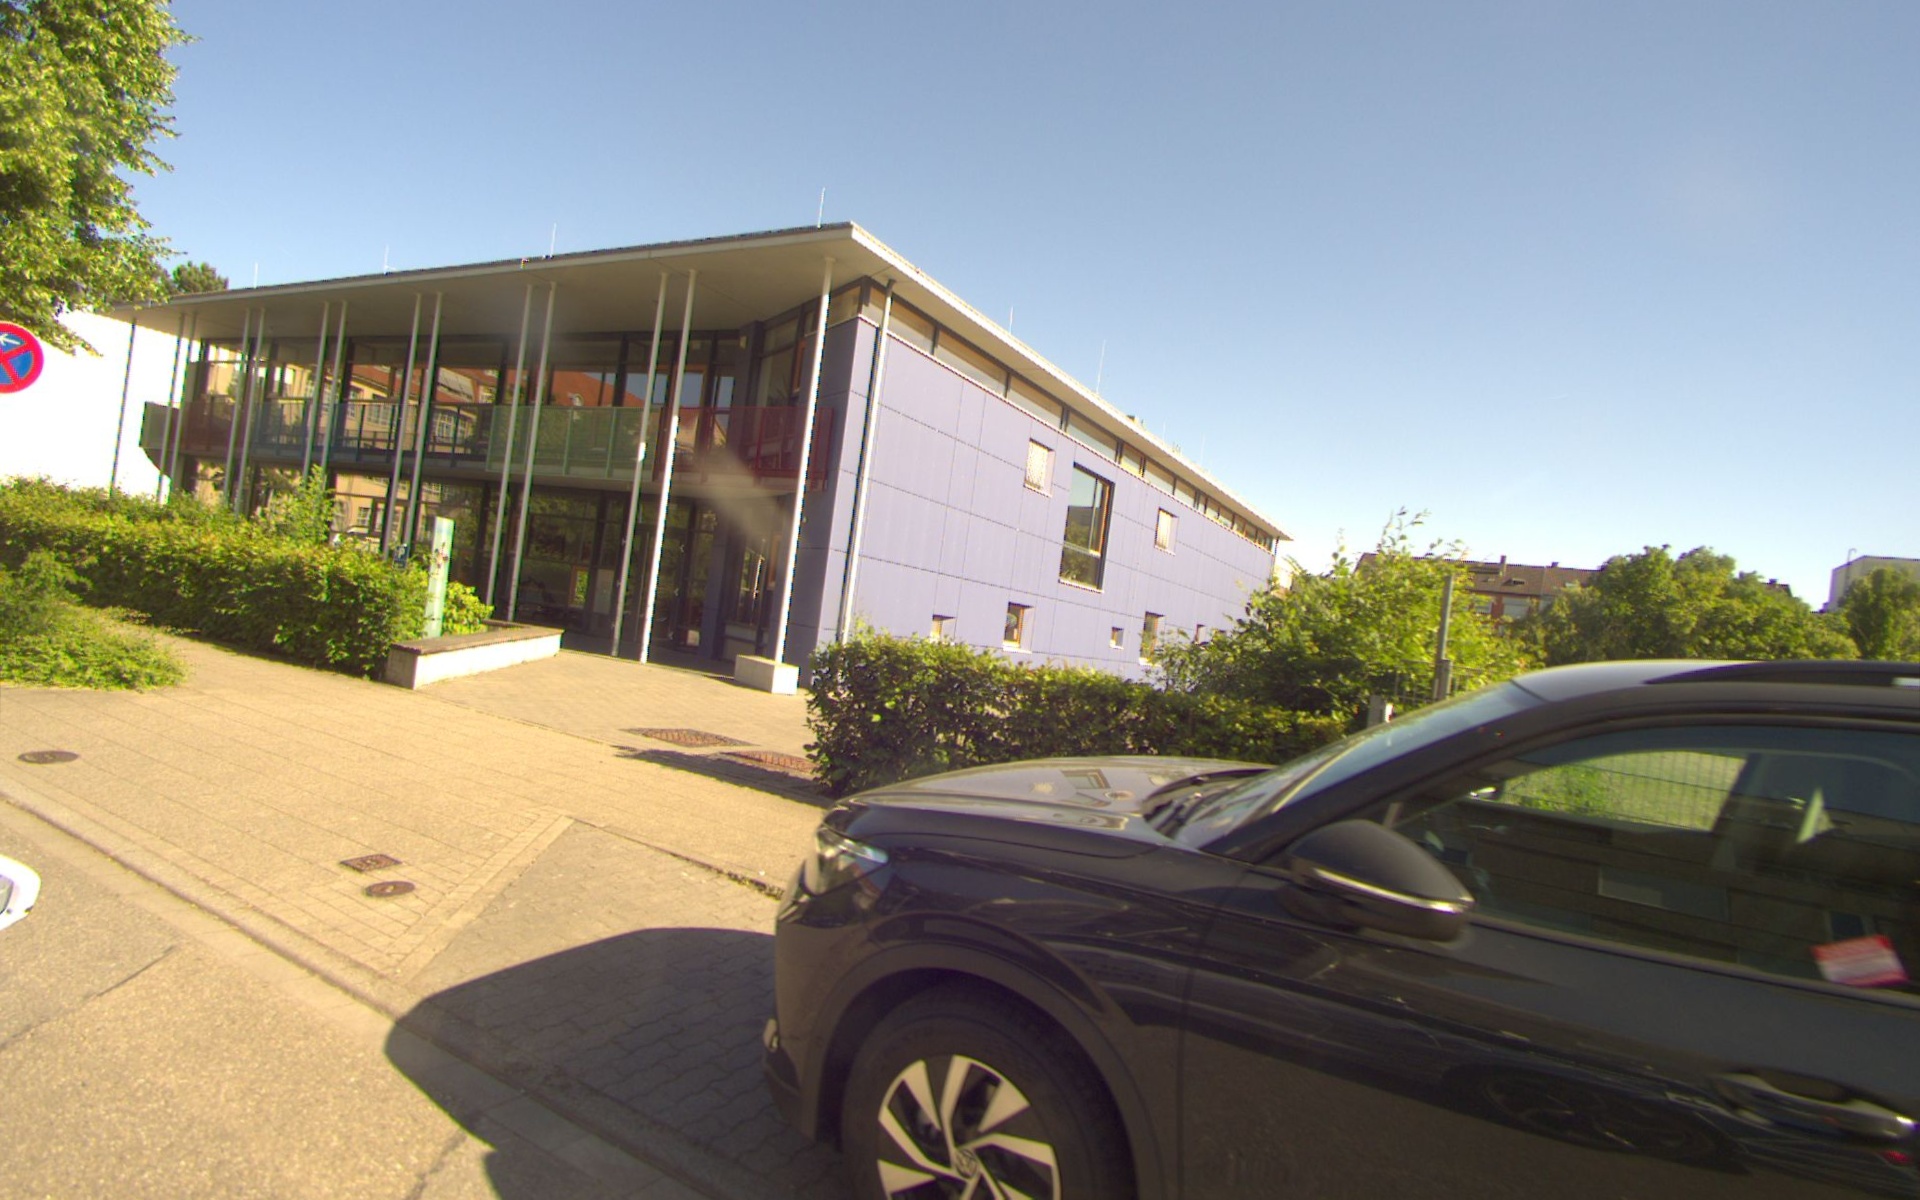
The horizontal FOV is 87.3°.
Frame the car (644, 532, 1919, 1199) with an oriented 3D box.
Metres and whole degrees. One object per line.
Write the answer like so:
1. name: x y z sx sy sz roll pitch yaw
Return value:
1. car: 1.531 0.919 2.229 4.253 1.673 1.728 7 1 30
